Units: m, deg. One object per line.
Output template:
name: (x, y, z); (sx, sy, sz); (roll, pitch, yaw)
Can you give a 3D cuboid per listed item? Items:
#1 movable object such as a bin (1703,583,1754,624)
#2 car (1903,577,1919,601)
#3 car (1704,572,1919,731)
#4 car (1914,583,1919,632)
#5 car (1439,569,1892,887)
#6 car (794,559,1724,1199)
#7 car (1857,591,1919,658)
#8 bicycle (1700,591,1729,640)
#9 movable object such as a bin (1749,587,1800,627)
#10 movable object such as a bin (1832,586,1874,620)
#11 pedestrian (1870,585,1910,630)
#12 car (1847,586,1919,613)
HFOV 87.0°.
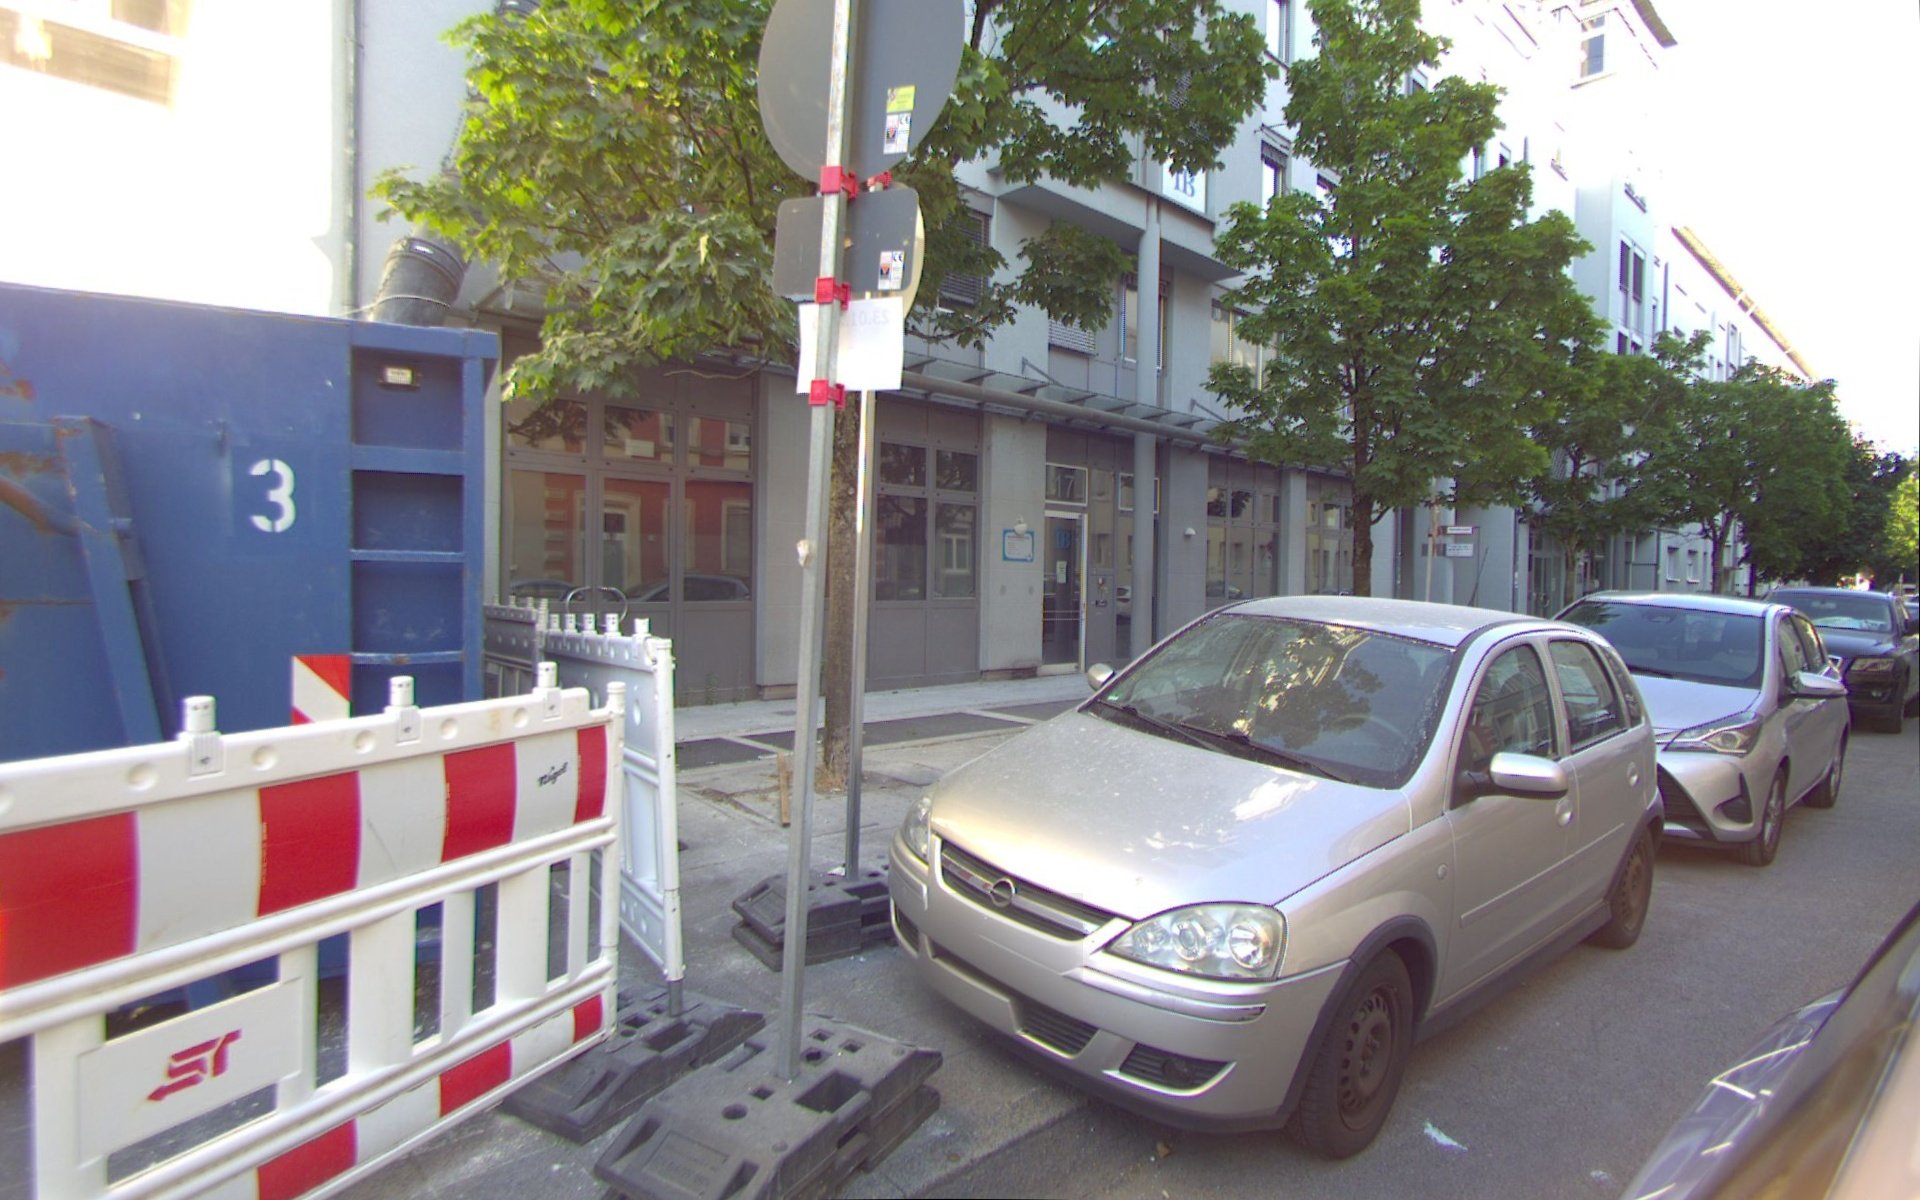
movable object such as a bin: (28.270, 0.114, 37.232); (1.120, 1.454, 1.263); (0, 3, -43)
car: (96.782, -1.090, 101.458); (2.147, 2.311, 6.135); (3, 3, 33)
car: (11.291, 0.518, 13.078); (4.360, 1.642, 1.888); (0, 3, -43)
car: (34.930, 0.296, 35.543); (4.646, 1.655, 1.873); (-1, 4, -45)
car: (5.027, 0.613, 7.003); (3.902, 1.543, 1.679); (0, 3, -42)
car: (1.396, 0.652, 3.907); (3.664, 1.493, 1.680); (0, 3, -41)
car: (22.999, 0.557, 24.286); (4.272, 1.446, 1.766); (0, 3, -43)
bicycle: (19.276, 0.373, 25.880); (0.519, 1.182, 1.718); (3, 3, 36)
movable object such as a bin: (29.325, 0.231, 36.439); (1.120, 1.337, 1.263); (0, 3, -43)
movable object such as a bin: (40.212, 0.106, 45.570); (1.203, 1.454, 1.286); (0, 3, -43)
pedestrian: (32.523, 0.247, 35.409); (0.796, 1.481, 0.861); (3, 3, 31)
car: (59.961, -0.040, 65.285); (1.968, 1.584, 3.991); (0, 4, -45)
